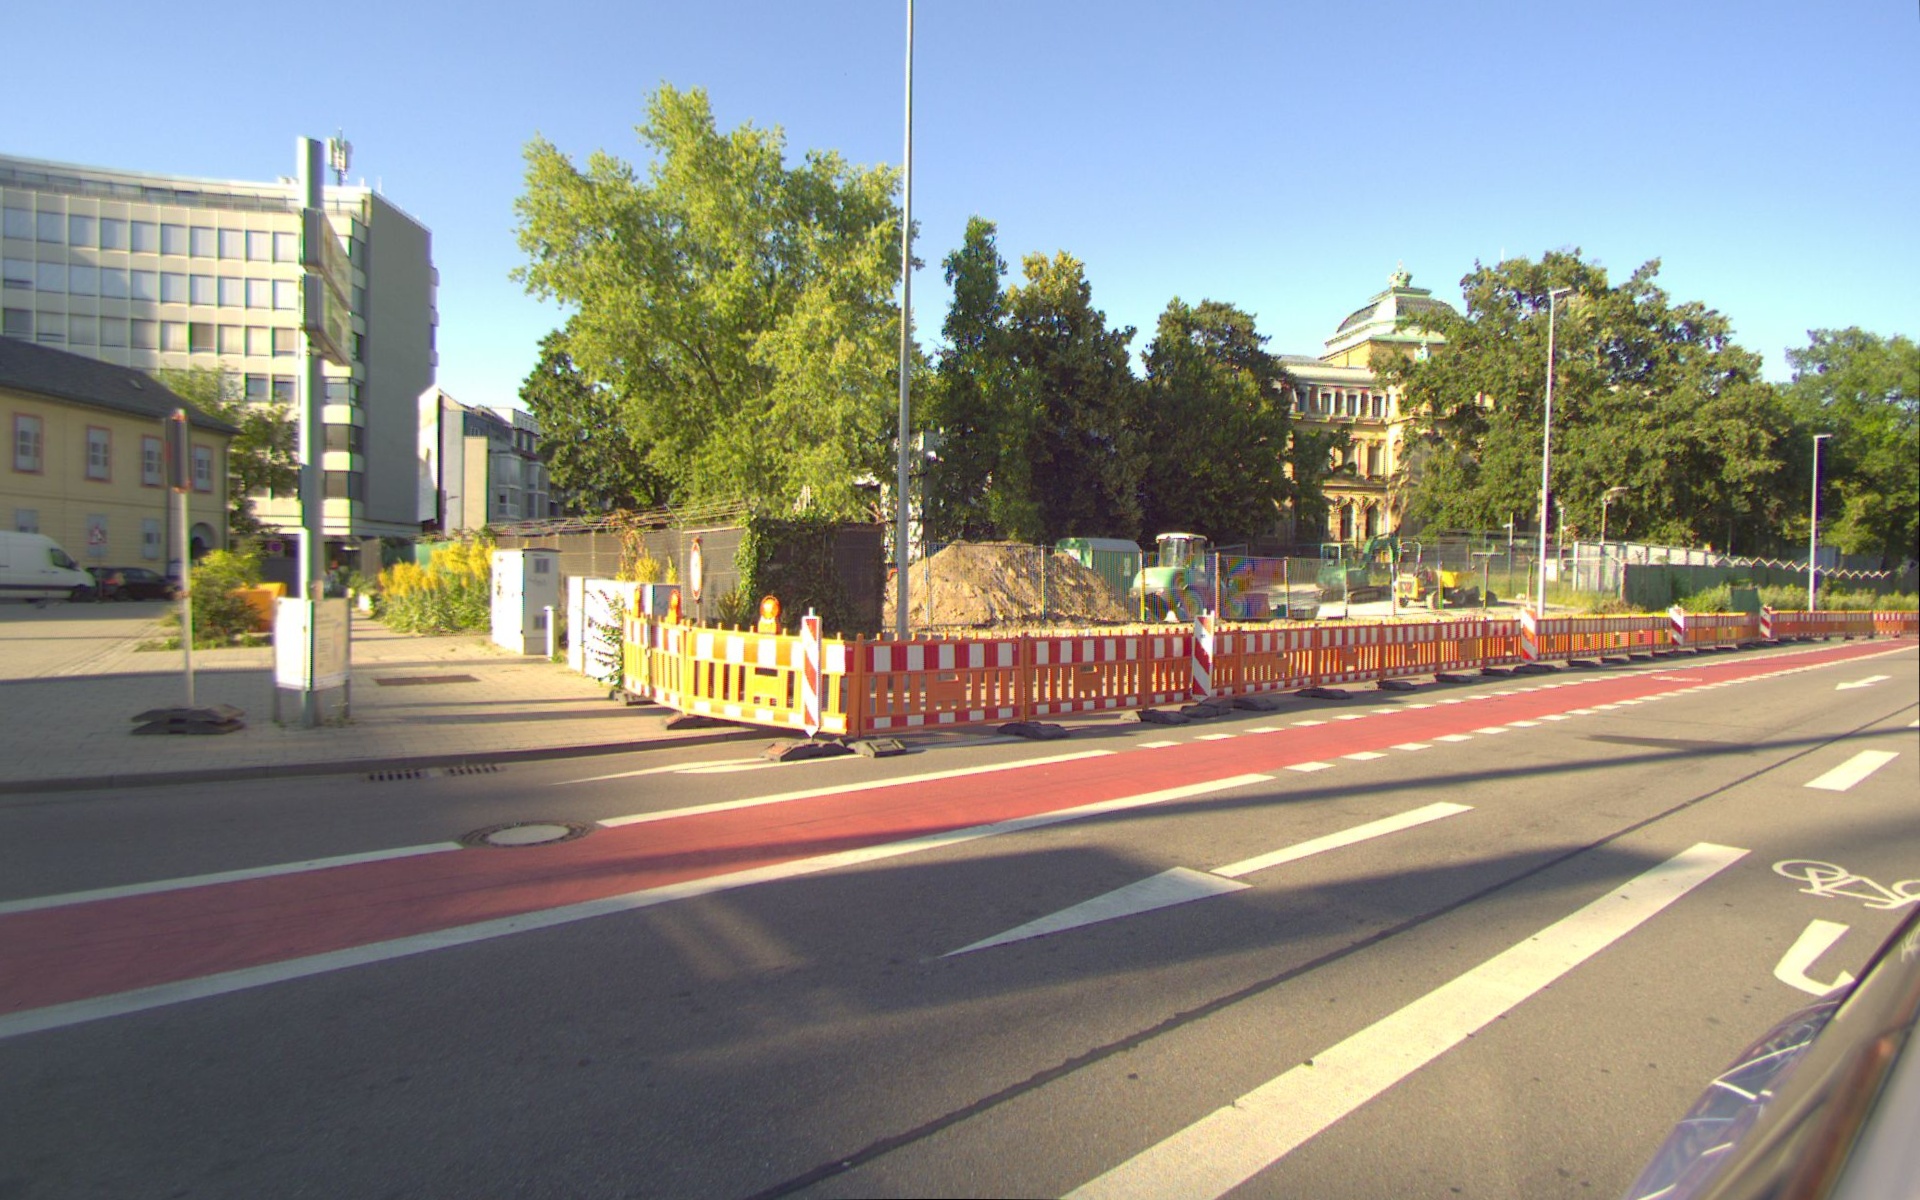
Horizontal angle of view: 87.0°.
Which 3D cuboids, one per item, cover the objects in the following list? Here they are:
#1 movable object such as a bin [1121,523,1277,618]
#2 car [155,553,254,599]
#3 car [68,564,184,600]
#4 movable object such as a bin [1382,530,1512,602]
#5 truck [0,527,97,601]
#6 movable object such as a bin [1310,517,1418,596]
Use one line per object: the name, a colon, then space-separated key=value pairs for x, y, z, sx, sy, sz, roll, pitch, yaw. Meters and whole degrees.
movable object such as a bin: x=7.437 y=-0.873 z=31.301 sx=4.920 sy=2.717 sz=1.999 roll=-1 pitch=0 yaw=-36
car: x=-34.398 y=-1.081 z=46.173 sx=1.682 sy=2.005 sz=3.761 roll=0 pitch=0 yaw=1
car: x=-34.343 y=-0.728 z=41.819 sx=1.682 sy=1.382 sz=3.761 roll=0 pitch=0 yaw=1
movable object such as a bin: x=20.424 y=-1.367 z=42.362 sx=5.750 sy=2.852 sz=2.002 roll=-1 pitch=0 yaw=-30
truck: x=-34.317 y=-1.250 z=36.060 sx=2.258 sy=2.581 sz=5.638 roll=0 pitch=0 yaw=1
movable object such as a bin: x=18.156 y=-1.871 z=45.382 sx=5.274 sy=3.371 sz=1.999 roll=-1 pitch=0 yaw=-36
